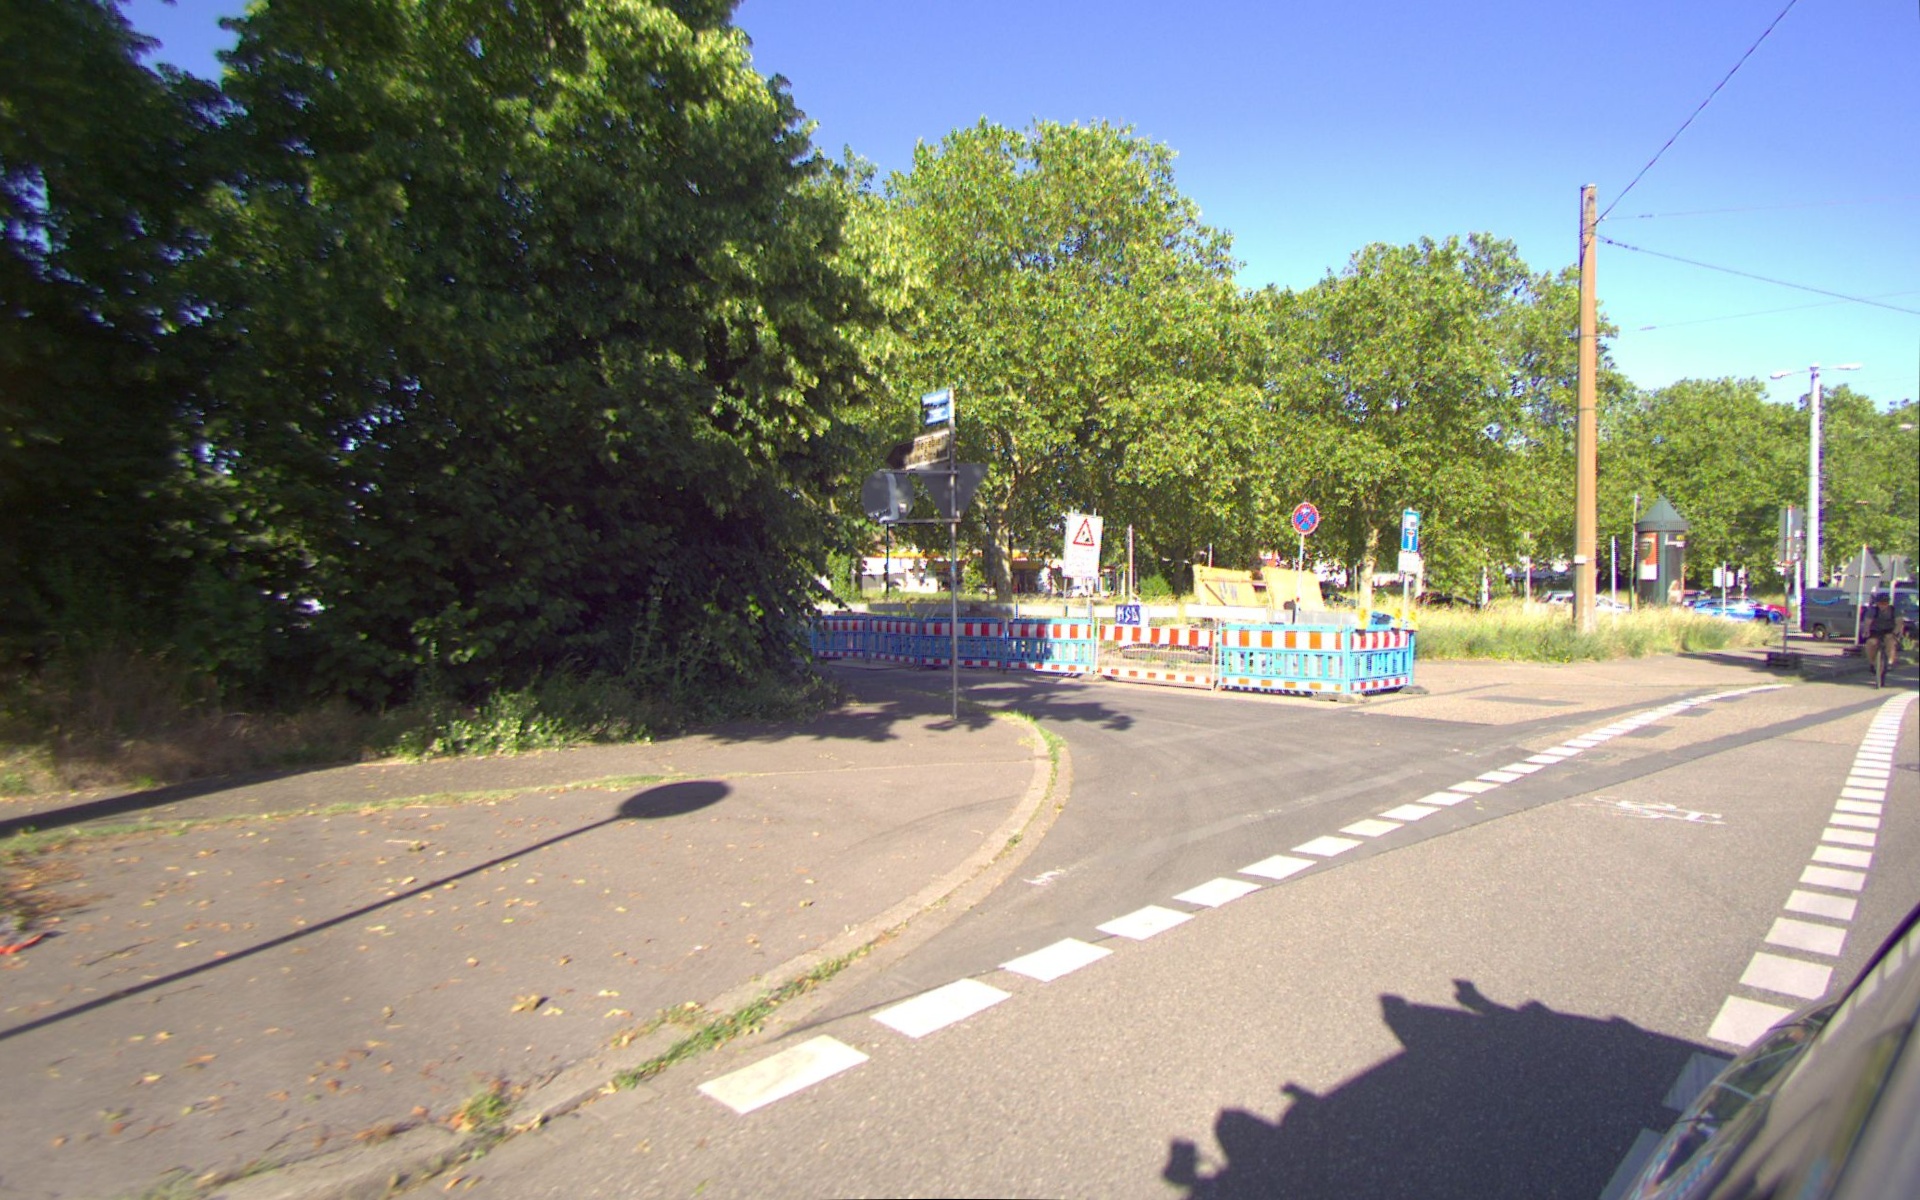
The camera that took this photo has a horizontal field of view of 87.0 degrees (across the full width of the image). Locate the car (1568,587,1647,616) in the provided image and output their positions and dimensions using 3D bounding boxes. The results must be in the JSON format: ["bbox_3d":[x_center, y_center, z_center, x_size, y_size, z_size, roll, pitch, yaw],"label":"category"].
[{"bbox_3d":[38.199,0.085,59.836,3.828,1.620,1.695,1,1,31],"label":"car"}]

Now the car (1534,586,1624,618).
[{"bbox_3d":[34.777,0.067,57.009,4.134,1.699,1.917,1,1,27],"label":"car"}]

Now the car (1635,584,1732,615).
[{"bbox_3d":[43.237,-0.050,60.620,4.451,1.732,1.904,1,2,27],"label":"car"}]

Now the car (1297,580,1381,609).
[{"bbox_3d":[23.920,-0.348,63.890,4.730,1.703,1.891,-1,1,28],"label":"car"}]

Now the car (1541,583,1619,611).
[{"bbox_3d":[38.353,-0.212,62.693,3.962,1.638,1.981,1,1,28],"label":"car"}]

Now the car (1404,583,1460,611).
[{"bbox_3d":[29.742,-0.204,63.787,3.177,1.635,1.361,1,5,27],"label":"car"}]

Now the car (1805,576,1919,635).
[{"bbox_3d":[36.203,0.146,39.505,2.090,2.096,5.122,0,2,-1],"label":"car"}]

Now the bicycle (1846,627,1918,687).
[{"bbox_3d":[16.650,0.999,18.262,2.050,0.934,0.526,-1,2,-36],"label":"bicycle"}]

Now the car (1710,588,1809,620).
[{"bbox_3d":[44.294,0.188,56.173,4.057,1.620,1.797,2,1,31],"label":"car"}]

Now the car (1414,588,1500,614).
[{"bbox_3d":[29.651,0.029,60.466,4.525,1.425,1.917,1,1,27],"label":"car"}]

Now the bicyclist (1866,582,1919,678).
[{"bbox_3d":[17.140,0.529,18.538,0.916,1.700,0.617,-1,2,-37],"label":"bicyclist"}]

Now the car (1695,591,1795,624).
[{"bbox_3d":[41.242,0.372,53.241,3.819,1.620,1.699,1,1,25],"label":"car"}]
